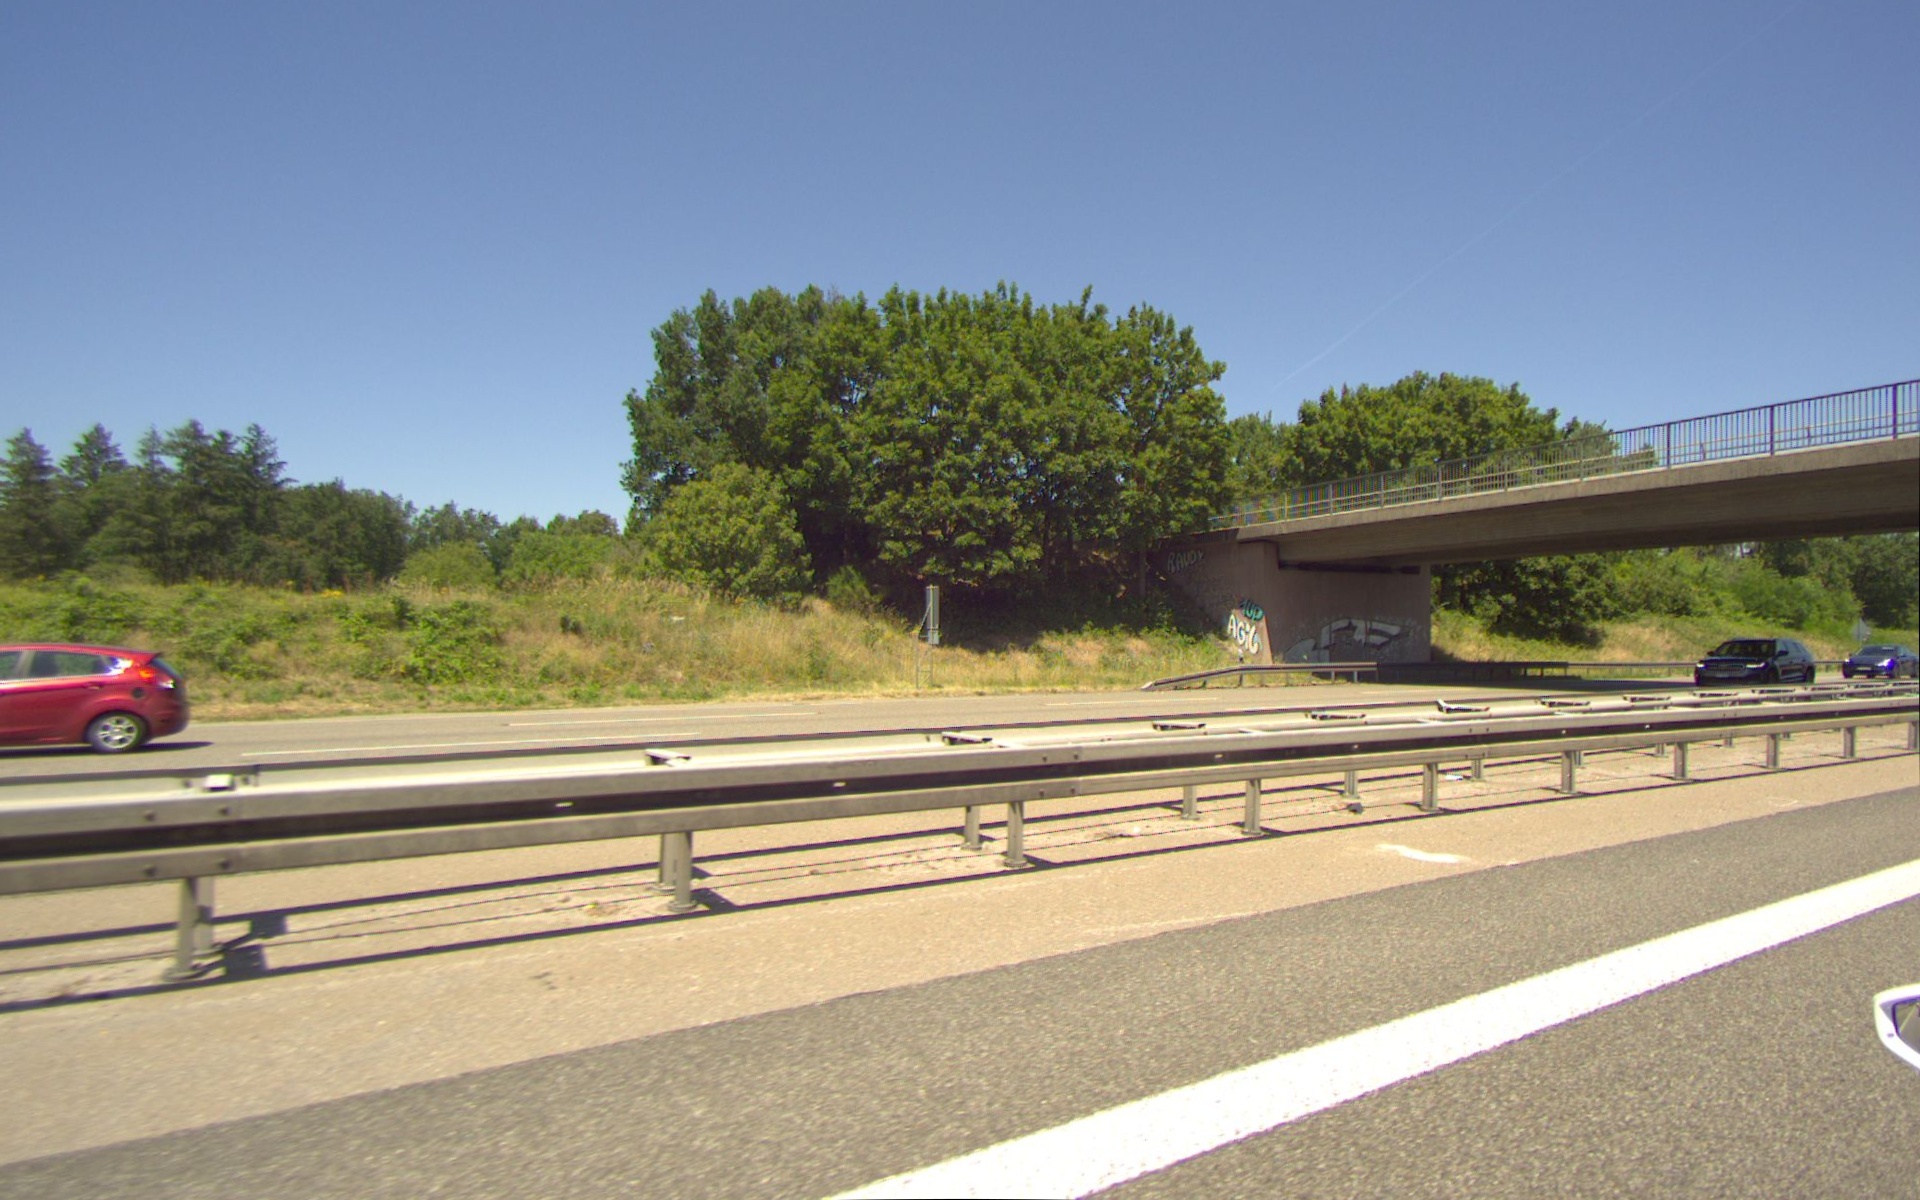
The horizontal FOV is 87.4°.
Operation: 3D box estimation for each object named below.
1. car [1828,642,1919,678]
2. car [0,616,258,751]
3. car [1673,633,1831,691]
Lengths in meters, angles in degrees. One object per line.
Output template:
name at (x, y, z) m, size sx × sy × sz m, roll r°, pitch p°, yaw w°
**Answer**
car at (43.526, 2.846, 47.620) m, size 5.004 × 1.631 × 2.216 m, roll 2°, pitch -3°, yaw -32°
car at (-12.138, 1.055, 13.065) m, size 4.734 × 1.631 × 2.216 m, roll 2°, pitch -3°, yaw -32°
car at (24.291, 1.880, 30.774) m, size 5.004 × 1.631 × 2.216 m, roll 2°, pitch -3°, yaw -32°
